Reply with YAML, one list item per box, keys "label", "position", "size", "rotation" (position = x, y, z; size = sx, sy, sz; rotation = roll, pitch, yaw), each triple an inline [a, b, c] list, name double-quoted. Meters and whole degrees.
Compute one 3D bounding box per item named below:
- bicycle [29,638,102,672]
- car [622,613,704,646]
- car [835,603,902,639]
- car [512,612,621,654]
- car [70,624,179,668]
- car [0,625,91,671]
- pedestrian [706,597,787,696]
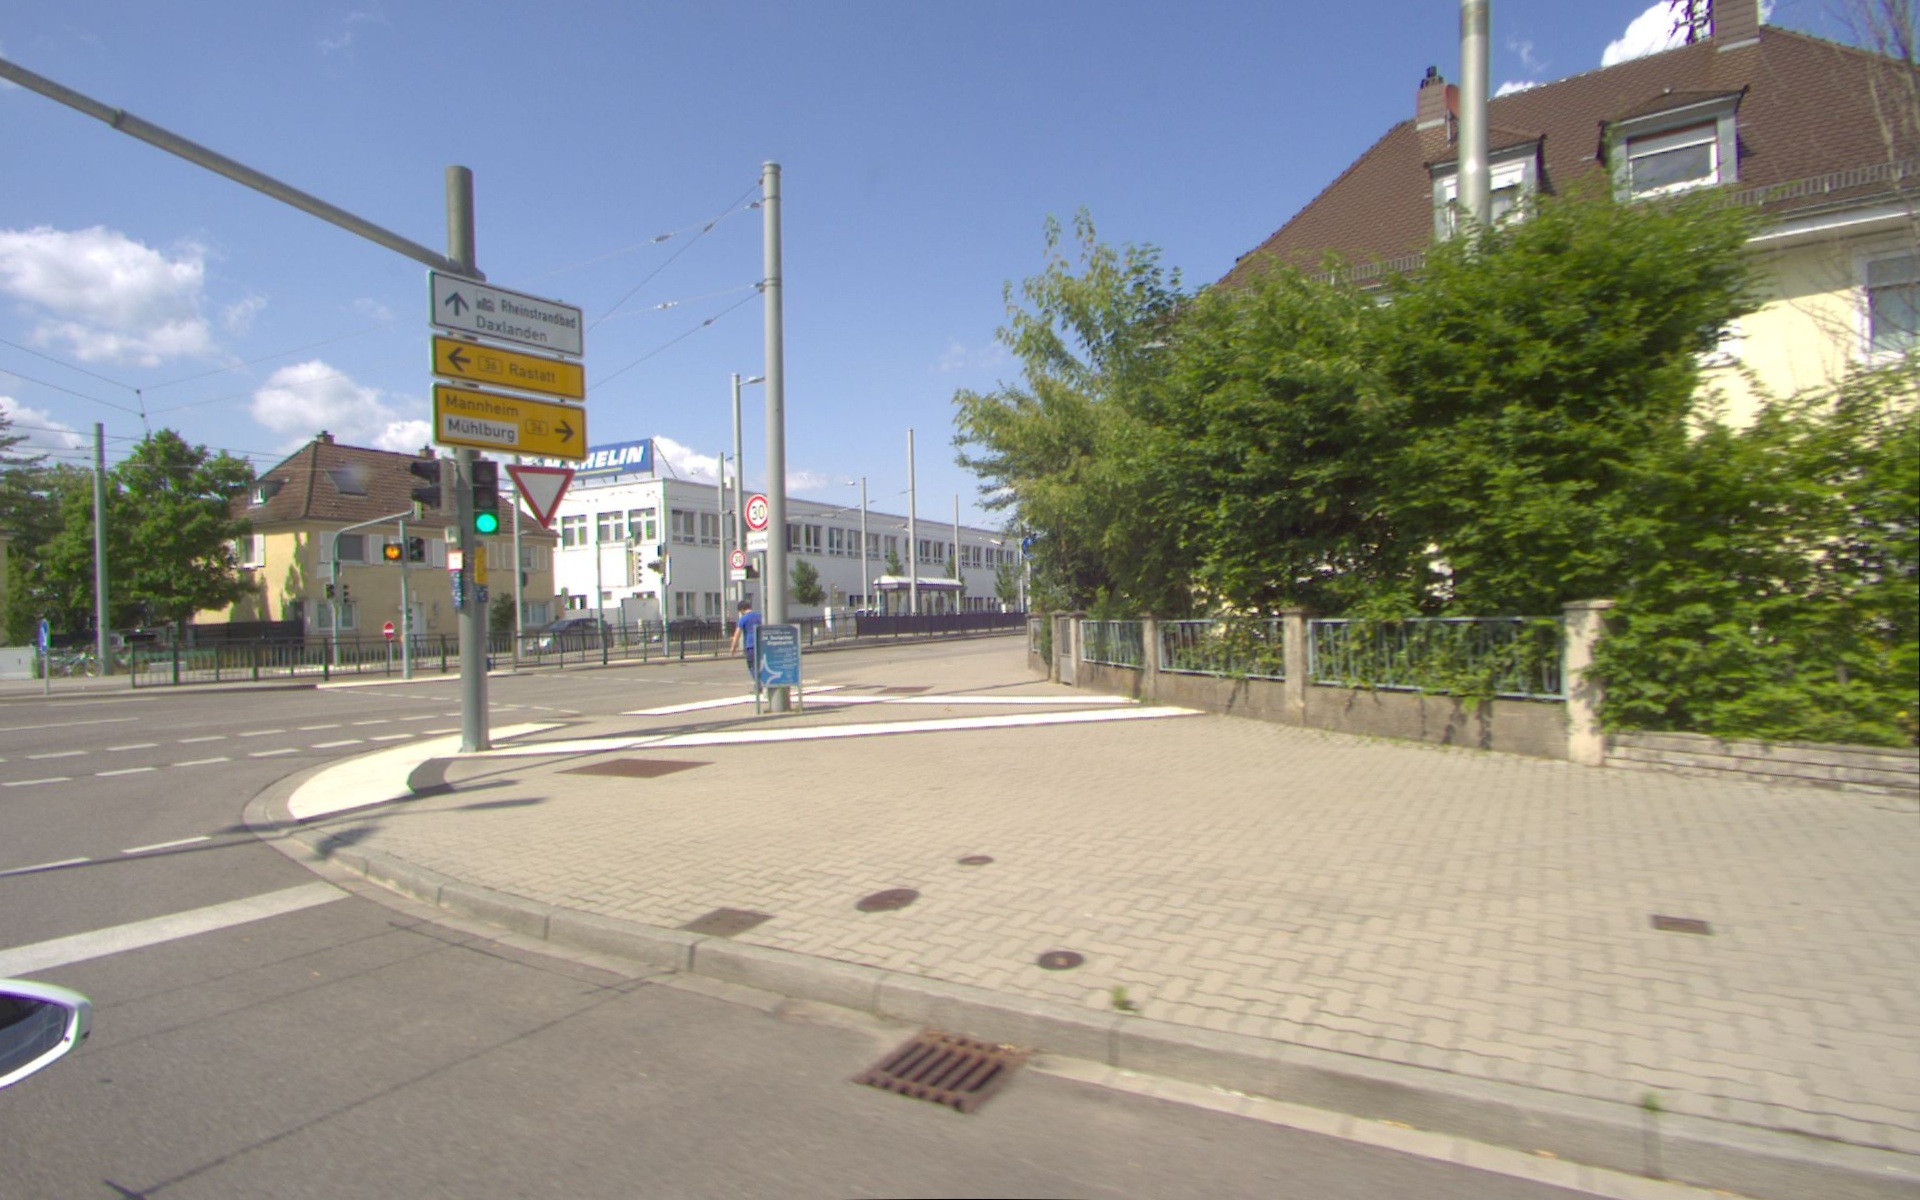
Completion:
- label: "bicycle"
  position: [-31.635, 1.934, 35.435]
  size: [1.777, 1.119, 0.701]
  rotation: [-1, 0, -20]
- label: "car"
  position: [-14.028, 1.392, 47.489]
  size: [1.552, 1.465, 3.705]
  rotation: [-1, -1, 29]
- label: "car"
  position: [-5.710, 1.285, 63.111]
  size: [1.787, 2.187, 4.826]
  rotation: [-1, 0, 29]
- label: "car"
  position: [-16.441, 1.359, 41.993]
  size: [1.814, 1.589, 3.982]
  rotation: [-1, -1, 29]
- label: "car"
  position: [-35.050, 1.930, 42.007]
  size: [3.933, 1.642, 1.823]
  rotation: [-3, -1, 22]
- label: "car"
  position: [-36.810, 1.936, 39.791]
  size: [3.933, 1.642, 1.823]
  rotation: [-3, -1, 22]
- label: "pedestrian"
  position: [-3.946, 0.841, 18.555]
  size: [1.025, 1.758, 1.028]
  rotation: [-1, 0, 28]
